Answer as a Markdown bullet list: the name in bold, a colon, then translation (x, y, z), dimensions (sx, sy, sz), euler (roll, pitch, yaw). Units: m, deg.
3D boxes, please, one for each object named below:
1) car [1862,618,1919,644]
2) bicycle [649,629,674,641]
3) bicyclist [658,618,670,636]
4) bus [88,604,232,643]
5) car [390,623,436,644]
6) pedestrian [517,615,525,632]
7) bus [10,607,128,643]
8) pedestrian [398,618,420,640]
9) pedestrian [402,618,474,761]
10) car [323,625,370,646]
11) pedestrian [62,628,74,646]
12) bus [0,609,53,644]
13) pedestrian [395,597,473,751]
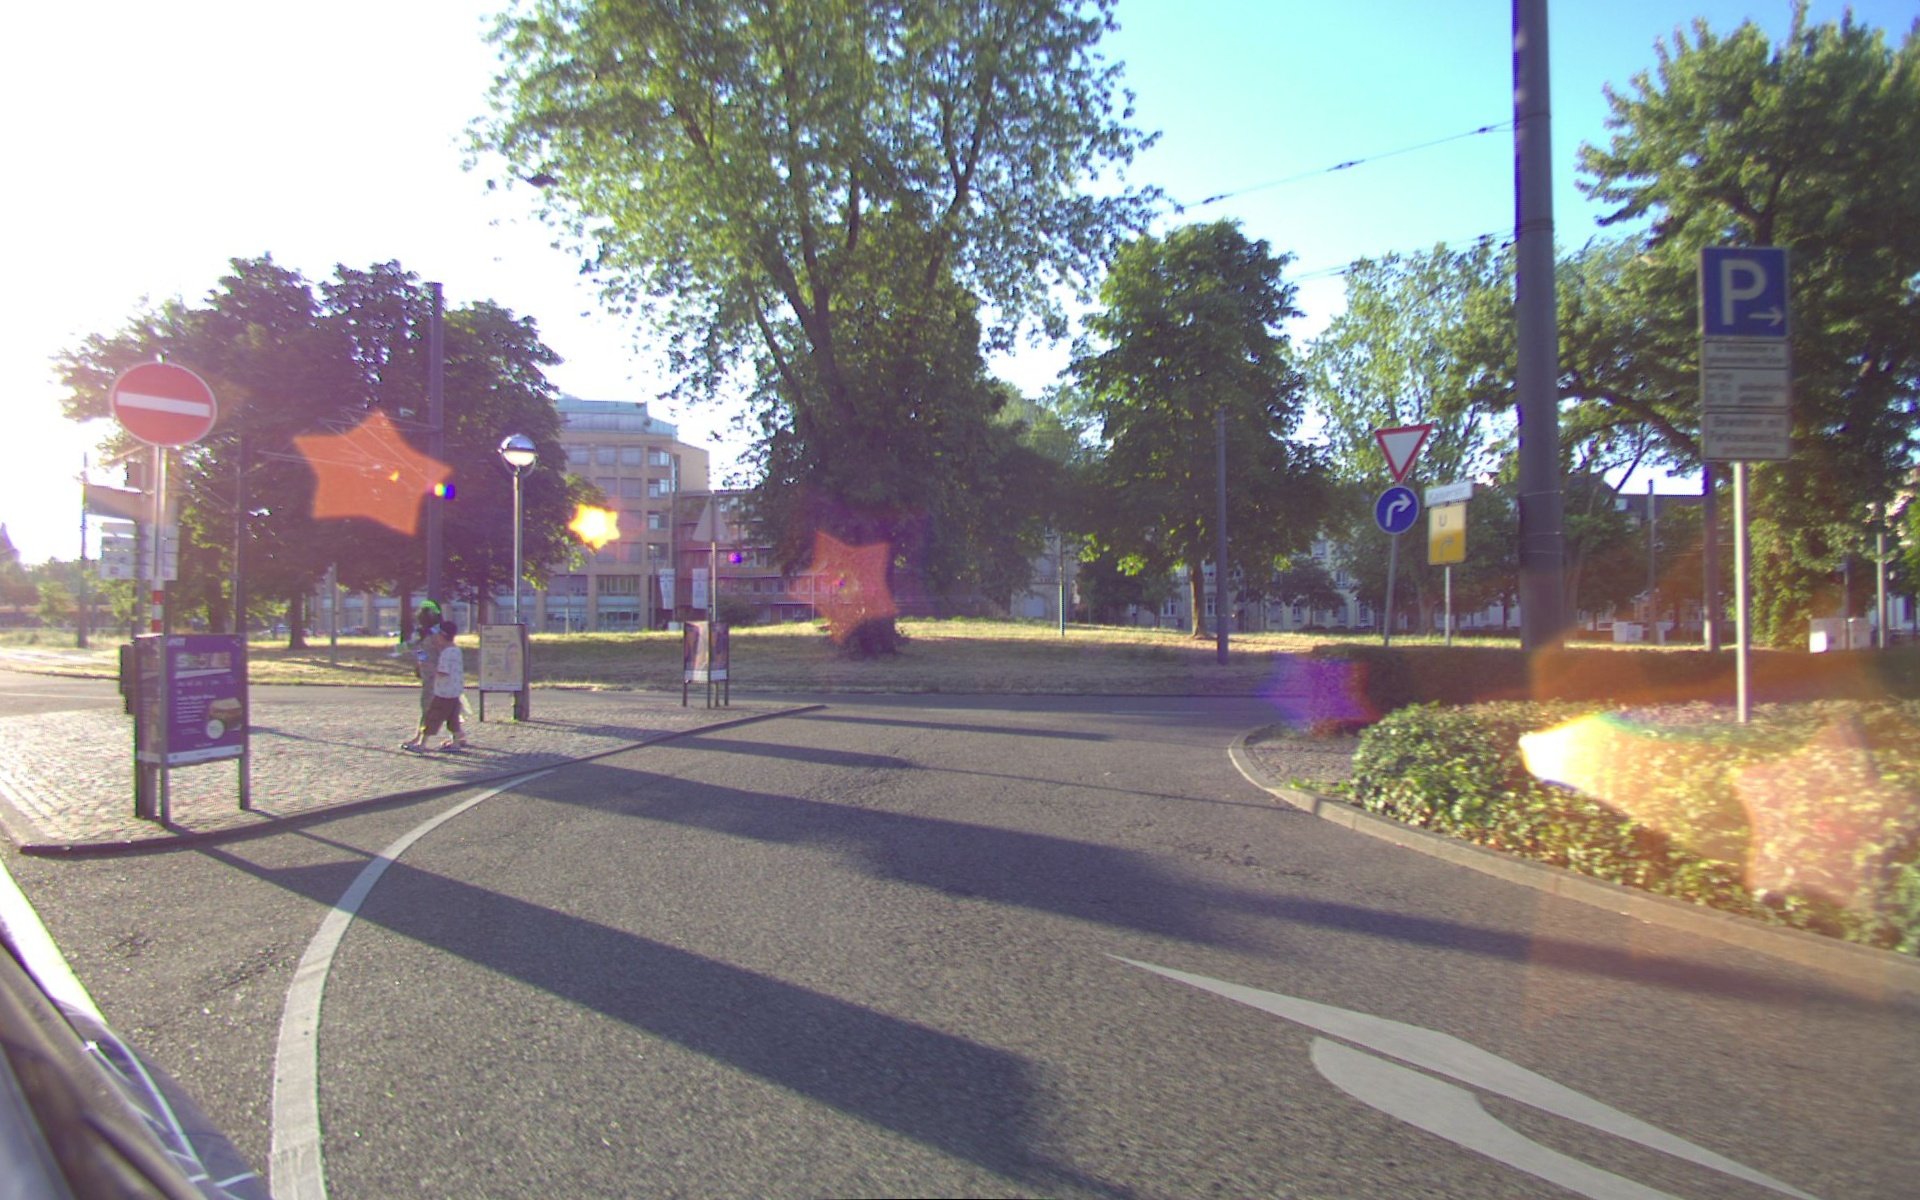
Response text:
- **car**: translation (65.321, 2.141, 70.624), dimensions (1.983, 1.630, 3.978), euler (-1, 0, 17)
- **bicycle**: translation (-28.067, 3.270, 95.264), dimensions (2.168, 1.018, 0.473), euler (2, -1, -5)
- **bicyclist**: translation (-27.825, 2.527, 95.260), dimensions (0.884, 1.703, 0.954), euler (2, -1, -5)
- **bus**: translation (-76.818, 2.260, 97.148), dimensions (13.589, 3.388, 3.741), euler (-1, -1, 16)
- **car**: translation (-56.364, 3.433, 104.257), dimensions (3.869, 2.029, 1.849), euler (-1, -1, 11)
- **pedestrian**: translation (-45.420, 2.403, 104.682), dimensions (0.614, 1.705, 0.527), euler (-2, -1, 24)
- **bus**: translation (-88.498, 2.470, 100.535), dimensions (10.638, 3.356, 3.742), euler (-1, -1, 16)
- **pedestrian**: translation (-55.351, 2.913, 101.626), dimensions (1.617, 2.110, 1.055), euler (-1, -1, 13)
- **pedestrian**: translation (-5.285, 0.879, 10.244), dimensions (0.604, 1.374, 0.566), euler (-1, -1, -31)
- **car**: translation (-64.387, 3.710, 106.282), dimensions (3.957, 2.029, 1.904), euler (-1, -1, 11)
- **pedestrian**: translation (-74.262, 3.114, 84.261), dimensions (0.698, 1.470, 0.664), euler (-2, -1, 37)
- **bus**: translation (-99.315, 2.788, 103.772), dimensions (12.026, 3.482, 3.740), euler (-1, -1, 17)
- **pedestrian**: translation (-5.639, 0.769, 10.840), dimensions (0.683, 1.571, 0.701), euler (0, -1, -31)
